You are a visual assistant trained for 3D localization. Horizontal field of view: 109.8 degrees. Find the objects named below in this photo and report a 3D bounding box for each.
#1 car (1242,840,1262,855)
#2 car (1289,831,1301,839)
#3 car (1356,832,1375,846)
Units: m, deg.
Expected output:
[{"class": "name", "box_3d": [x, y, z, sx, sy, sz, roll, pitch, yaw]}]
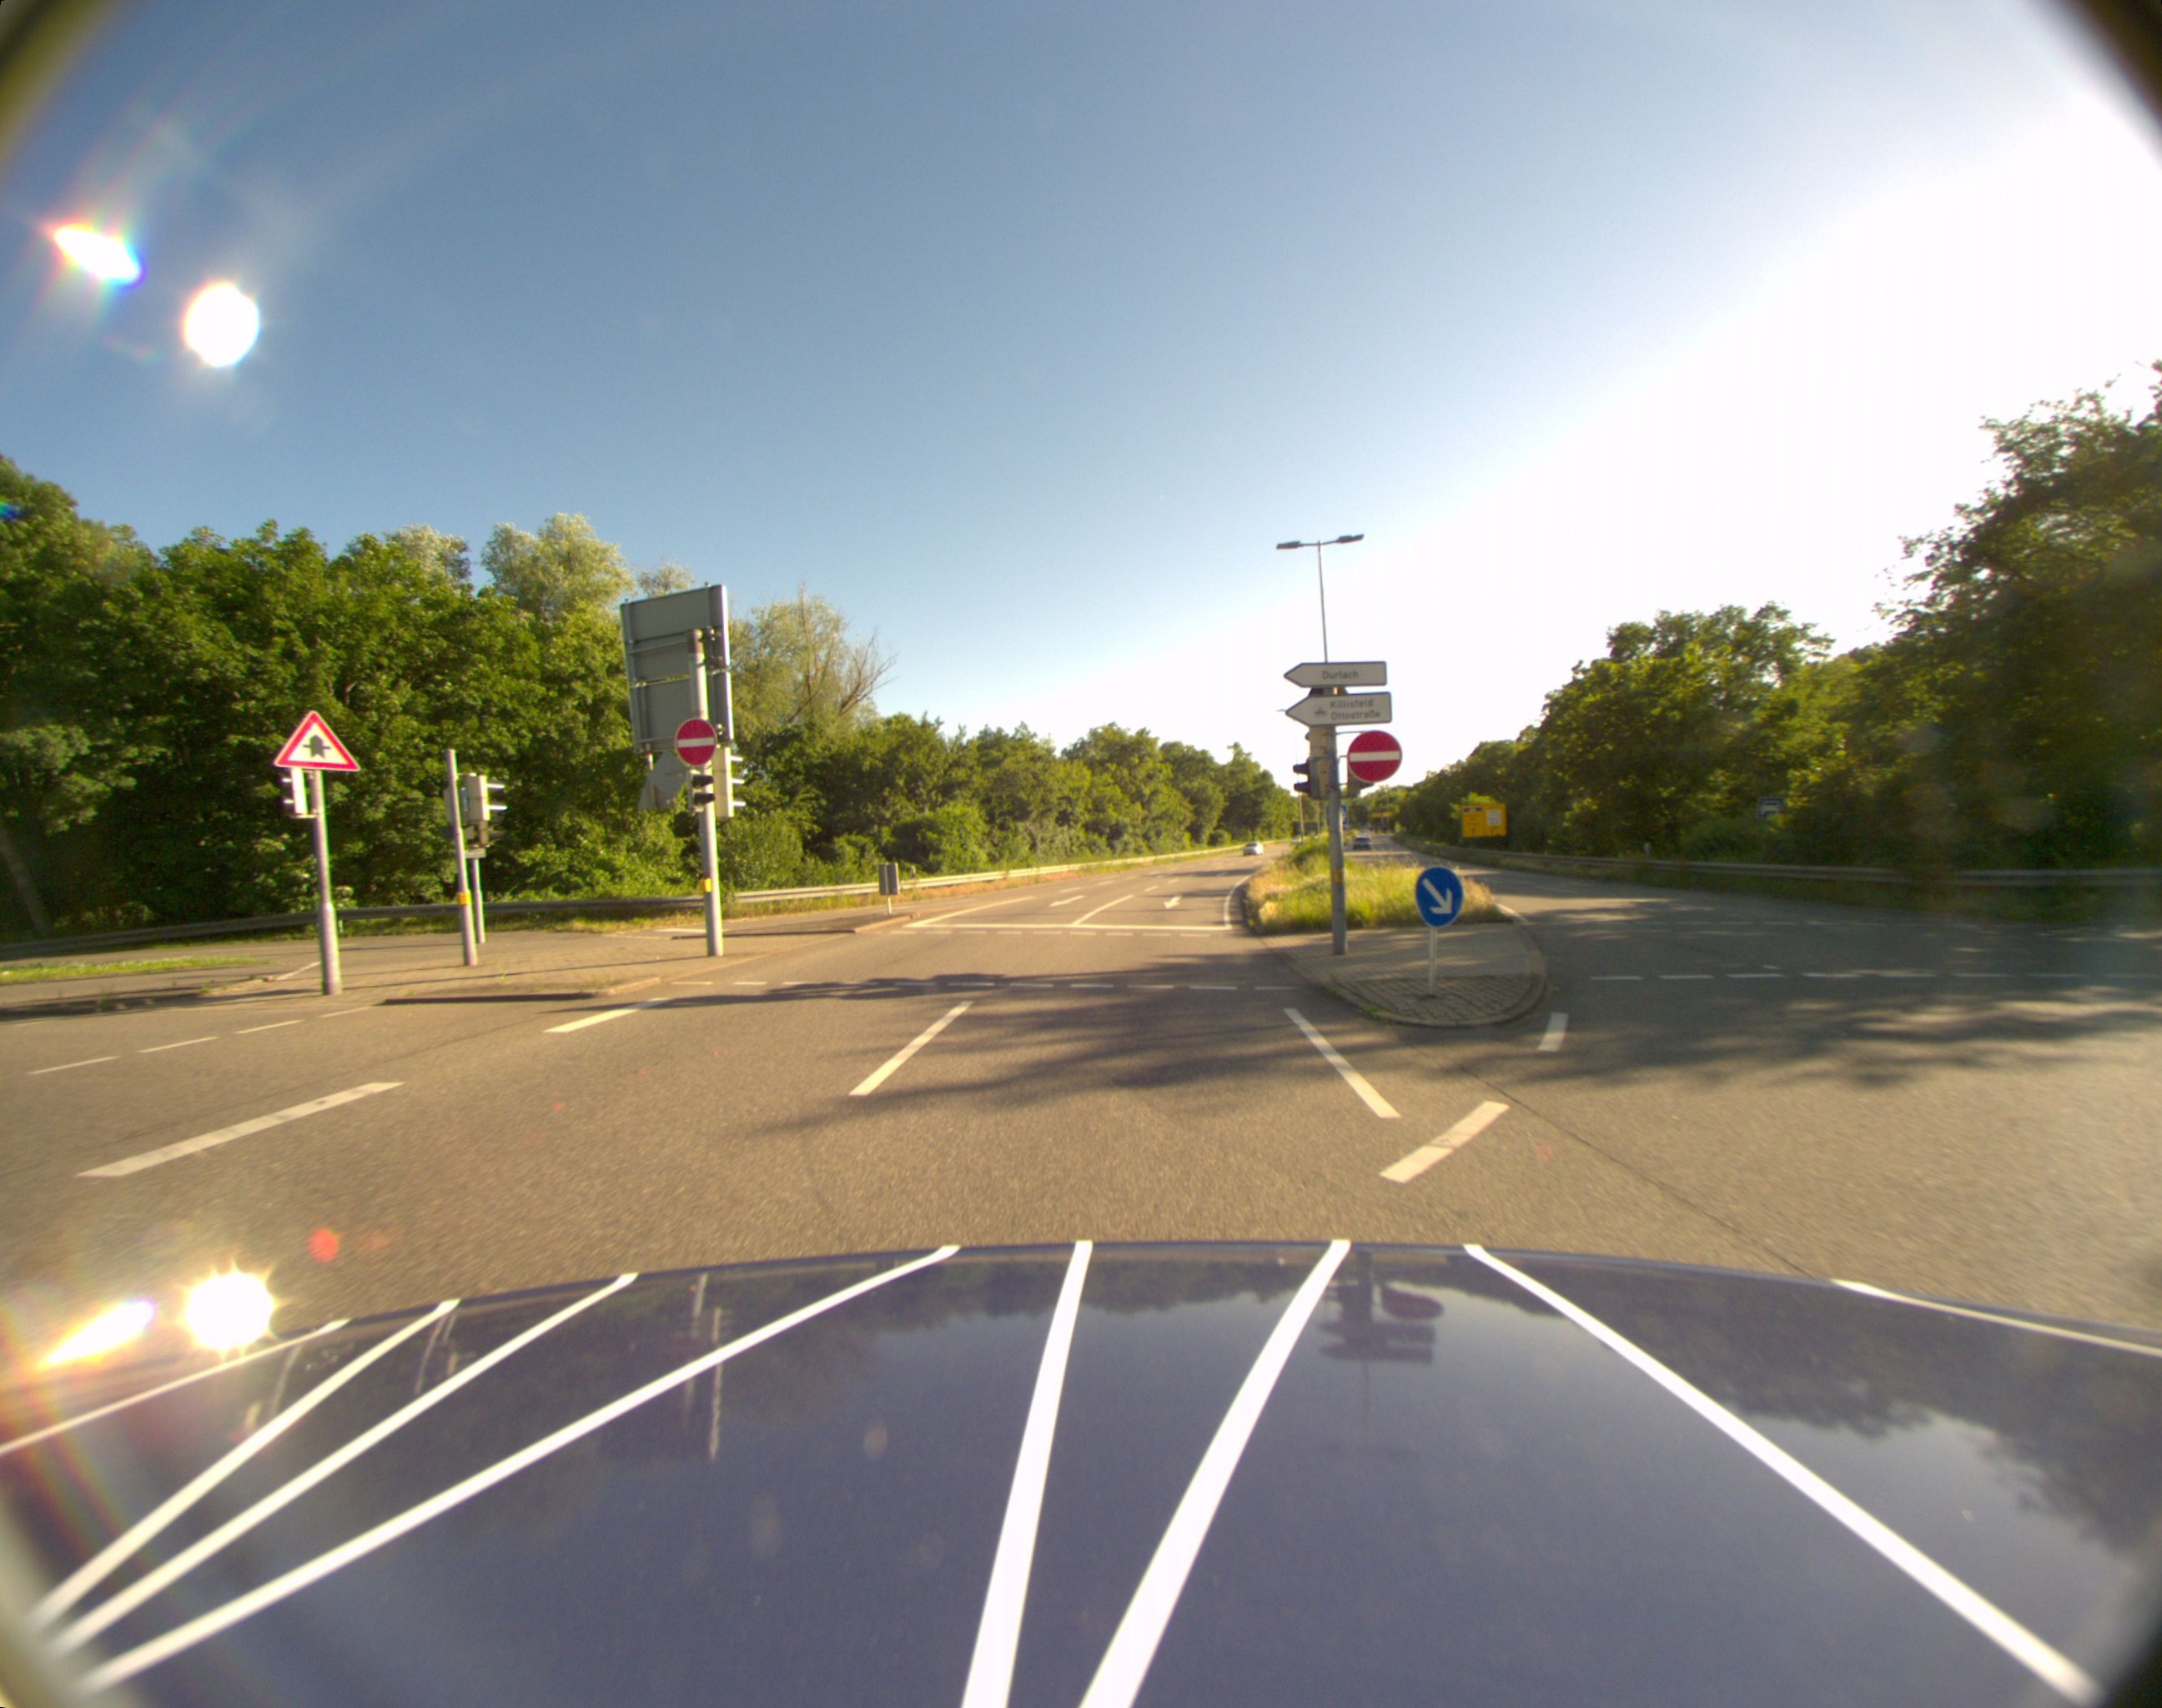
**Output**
[{"class": "car", "box_3d": [18.863, -0.726, 83.764, 1.679, 1.477, 3.394, -2, 1, 20]}, {"class": "car", "box_3d": [38.911, -3.433, 138.271, 1.907, 1.477, 3.348, -2, 1, 20]}, {"class": "car", "box_3d": [32.011, -1.692, 85.387, 1.887, 1.512, 4.222, -1, 1, 21]}]
